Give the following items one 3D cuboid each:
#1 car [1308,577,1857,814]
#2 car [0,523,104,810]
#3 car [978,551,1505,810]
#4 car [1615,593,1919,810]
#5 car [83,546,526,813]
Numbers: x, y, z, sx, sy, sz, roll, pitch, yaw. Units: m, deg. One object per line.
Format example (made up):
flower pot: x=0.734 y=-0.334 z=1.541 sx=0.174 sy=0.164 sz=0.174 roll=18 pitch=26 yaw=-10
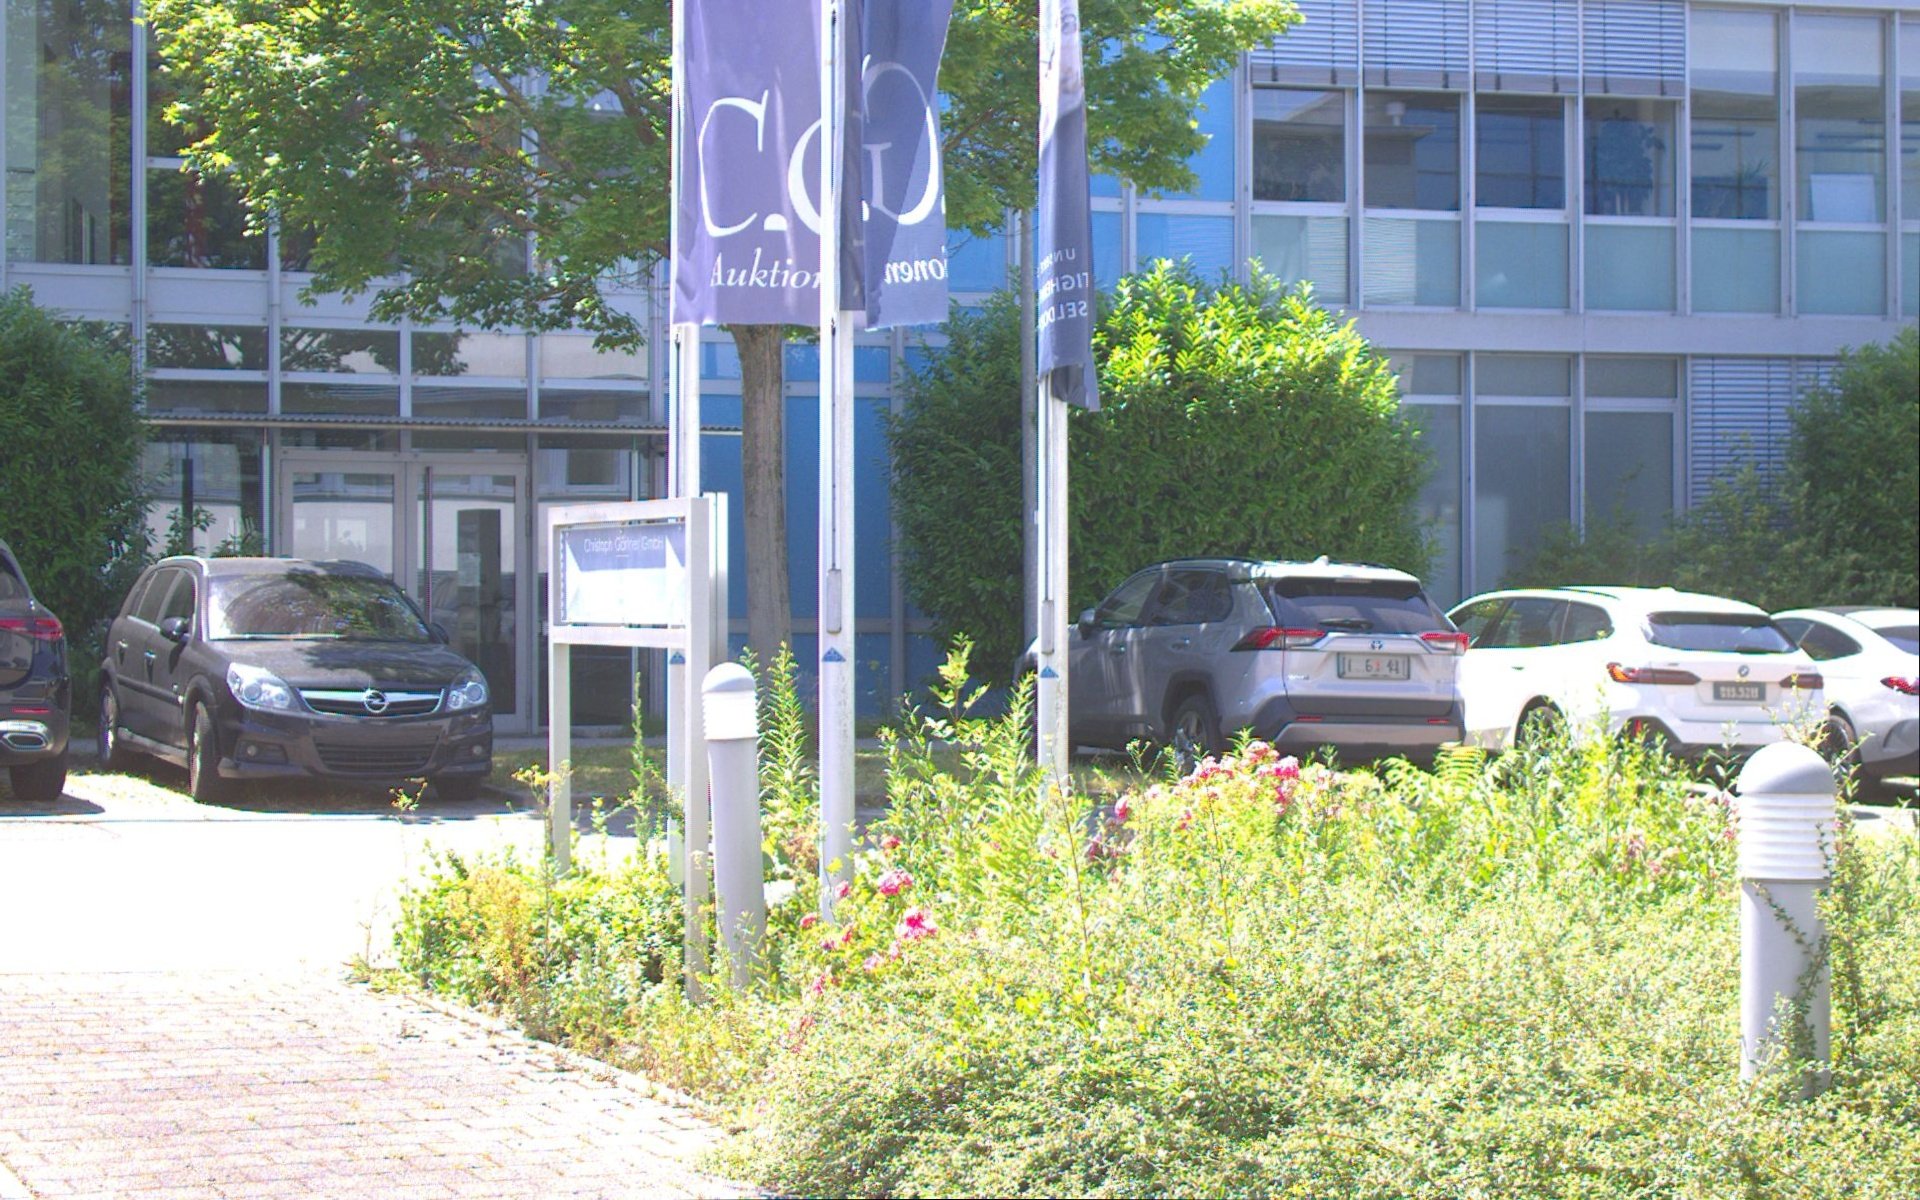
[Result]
car: x=4.466 y=0.652 z=25.359 sx=1.735 sy=1.486 sz=4.341 roll=2 pitch=1 yaw=-25
car: x=-6.625 y=0.312 z=21.003 sx=1.926 sy=1.605 sz=3.987 roll=2 pitch=1 yaw=-25
car: x=1.897 y=0.504 z=24.650 sx=1.819 sy=1.614 sz=4.341 roll=0 pitch=1 yaw=-25
car: x=6.836 y=0.733 z=26.407 sx=1.735 sy=1.425 sz=4.341 roll=2 pitch=1 yaw=-16
car: x=-4.299 y=0.433 z=22.030 sx=1.769 sy=1.477 sz=4.260 roll=0 pitch=1 yaw=-25
